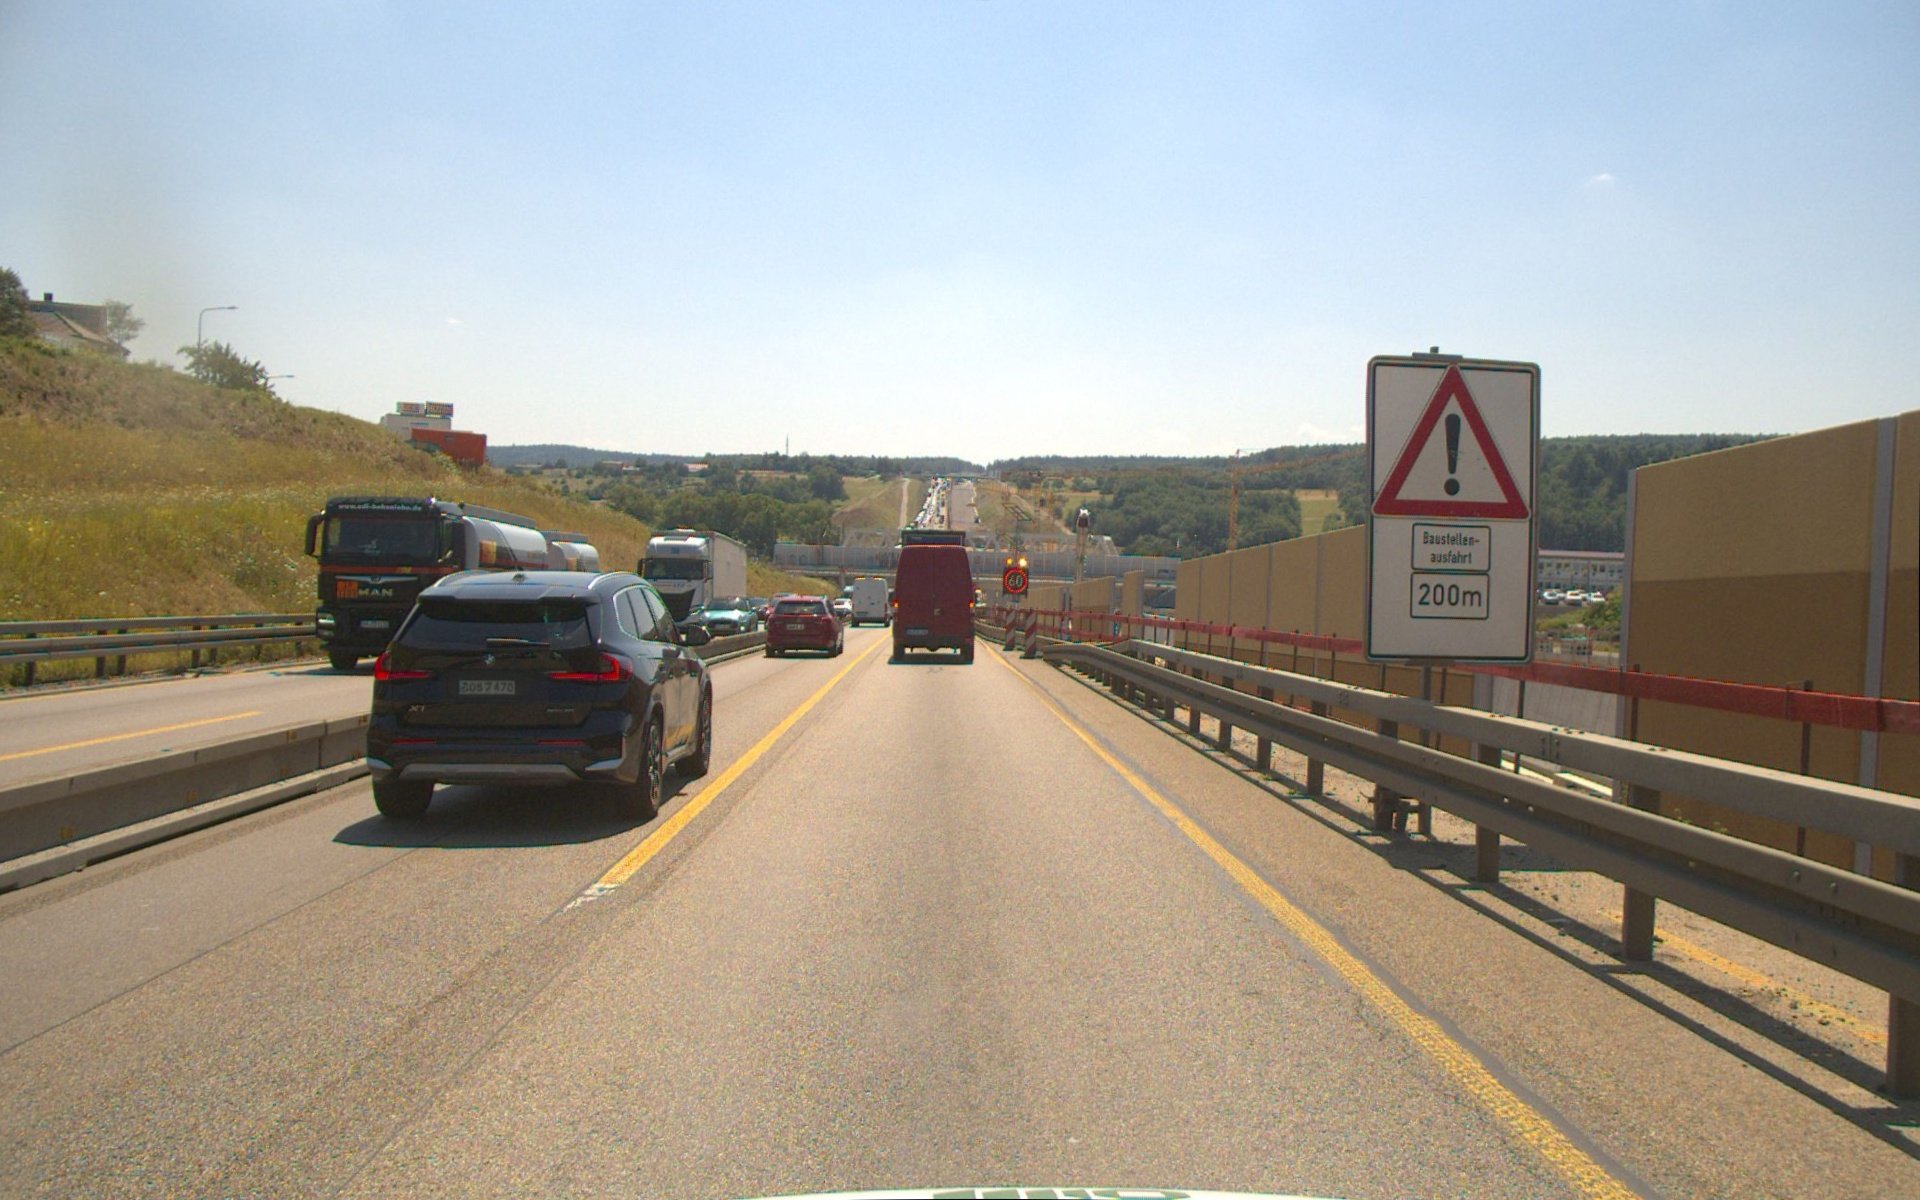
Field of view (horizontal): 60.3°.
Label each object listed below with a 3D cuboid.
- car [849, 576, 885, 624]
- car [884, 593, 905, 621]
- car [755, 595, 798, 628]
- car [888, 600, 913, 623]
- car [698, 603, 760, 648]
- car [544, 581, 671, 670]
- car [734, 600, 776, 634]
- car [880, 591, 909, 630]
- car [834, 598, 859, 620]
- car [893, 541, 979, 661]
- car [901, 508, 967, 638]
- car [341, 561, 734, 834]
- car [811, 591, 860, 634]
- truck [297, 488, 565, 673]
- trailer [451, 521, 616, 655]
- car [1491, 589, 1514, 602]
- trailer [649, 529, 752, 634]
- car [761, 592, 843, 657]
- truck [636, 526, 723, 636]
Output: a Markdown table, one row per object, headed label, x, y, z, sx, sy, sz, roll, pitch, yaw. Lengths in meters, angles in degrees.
| label | x | y | z | sx | sy | sz | roll | pitch | yaw |
| --- | --- | --- | --- | --- | --- | --- | --- | --- | --- |
| car | -4.948 | 0.013 | 88.355 | 1.740 | 2.484 | 4.205 | 0 | 0 | -1 |
| car | -5.589 | 0.575 | 141.218 | 1.740 | 2.370 | 4.205 | 0 | 0 | -1 |
| car | -8.434 | 0.512 | 76.371 | 1.636 | 1.492 | 3.999 | 1 | 0 | -1 |
| car | -4.335 | 0.834 | 121.302 | 1.740 | 1.699 | 4.027 | 0 | 0 | -1 |
| car | -7.667 | 0.812 | 55.176 | 1.632 | 1.418 | 3.903 | 1 | 0 | -2 |
| car | -7.112 | 0.485 | 33.778 | 1.683 | 1.663 | 4.498 | 1 | 0 | -1 |
| car | -12.241 | 0.974 | 98.969 | 1.997 | 1.960 | 5.119 | 0 | 0 | -2 |
| car | -4.094 | 0.654 | 103.737 | 1.740 | 2.370 | 4.205 | 0 | 0 | -1 |
| car | -9.093 | 0.707 | 132.581 | 1.802 | 1.683 | 5.369 | 0 | 0 | -2 |
| car | -0.593 | 0.035 | 40.040 | 1.948 | 2.737 | 4.622 | 0 | 0 | -1 |
| car | -1.145 | -1.047 | 70.170 | 2.568 | 5.120 | 10.393 | 0 | 0 | -1 |
| car | -2.862 | 0.598 | 12.263 | 1.841 | 1.646 | 4.497 | 0 | 0 | -1 |
| car | -5.034 | 0.488 | 67.346 | 1.802 | 1.683 | 4.163 | 0 | 0 | -2 |
| truck | -10.349 | -0.351 | 33.513 | 2.671 | 3.198 | 8.957 | 1 | 0 | -1 |
| trailer | -10.486 | -0.280 | 41.290 | 2.559 | 3.053 | 6.369 | 1 | 0 | -1 |
| car | 68.587 | -0.569 | 209.131 | 1.646 | 1.544 | 4.075 | 1 | 0 | 1 |
| trailer | -11.463 | -0.780 | 74.329 | 2.729 | 4.255 | 13.974 | 1 | 0 | -1 |
| car | -3.915 | 0.583 | 41.614 | 1.740 | 1.544 | 4.205 | 0 | 0 | -1 |
| truck | -11.271 | -0.743 | 66.859 | 2.690 | 4.255 | 5.287 | 1 | 0 | -1 |
